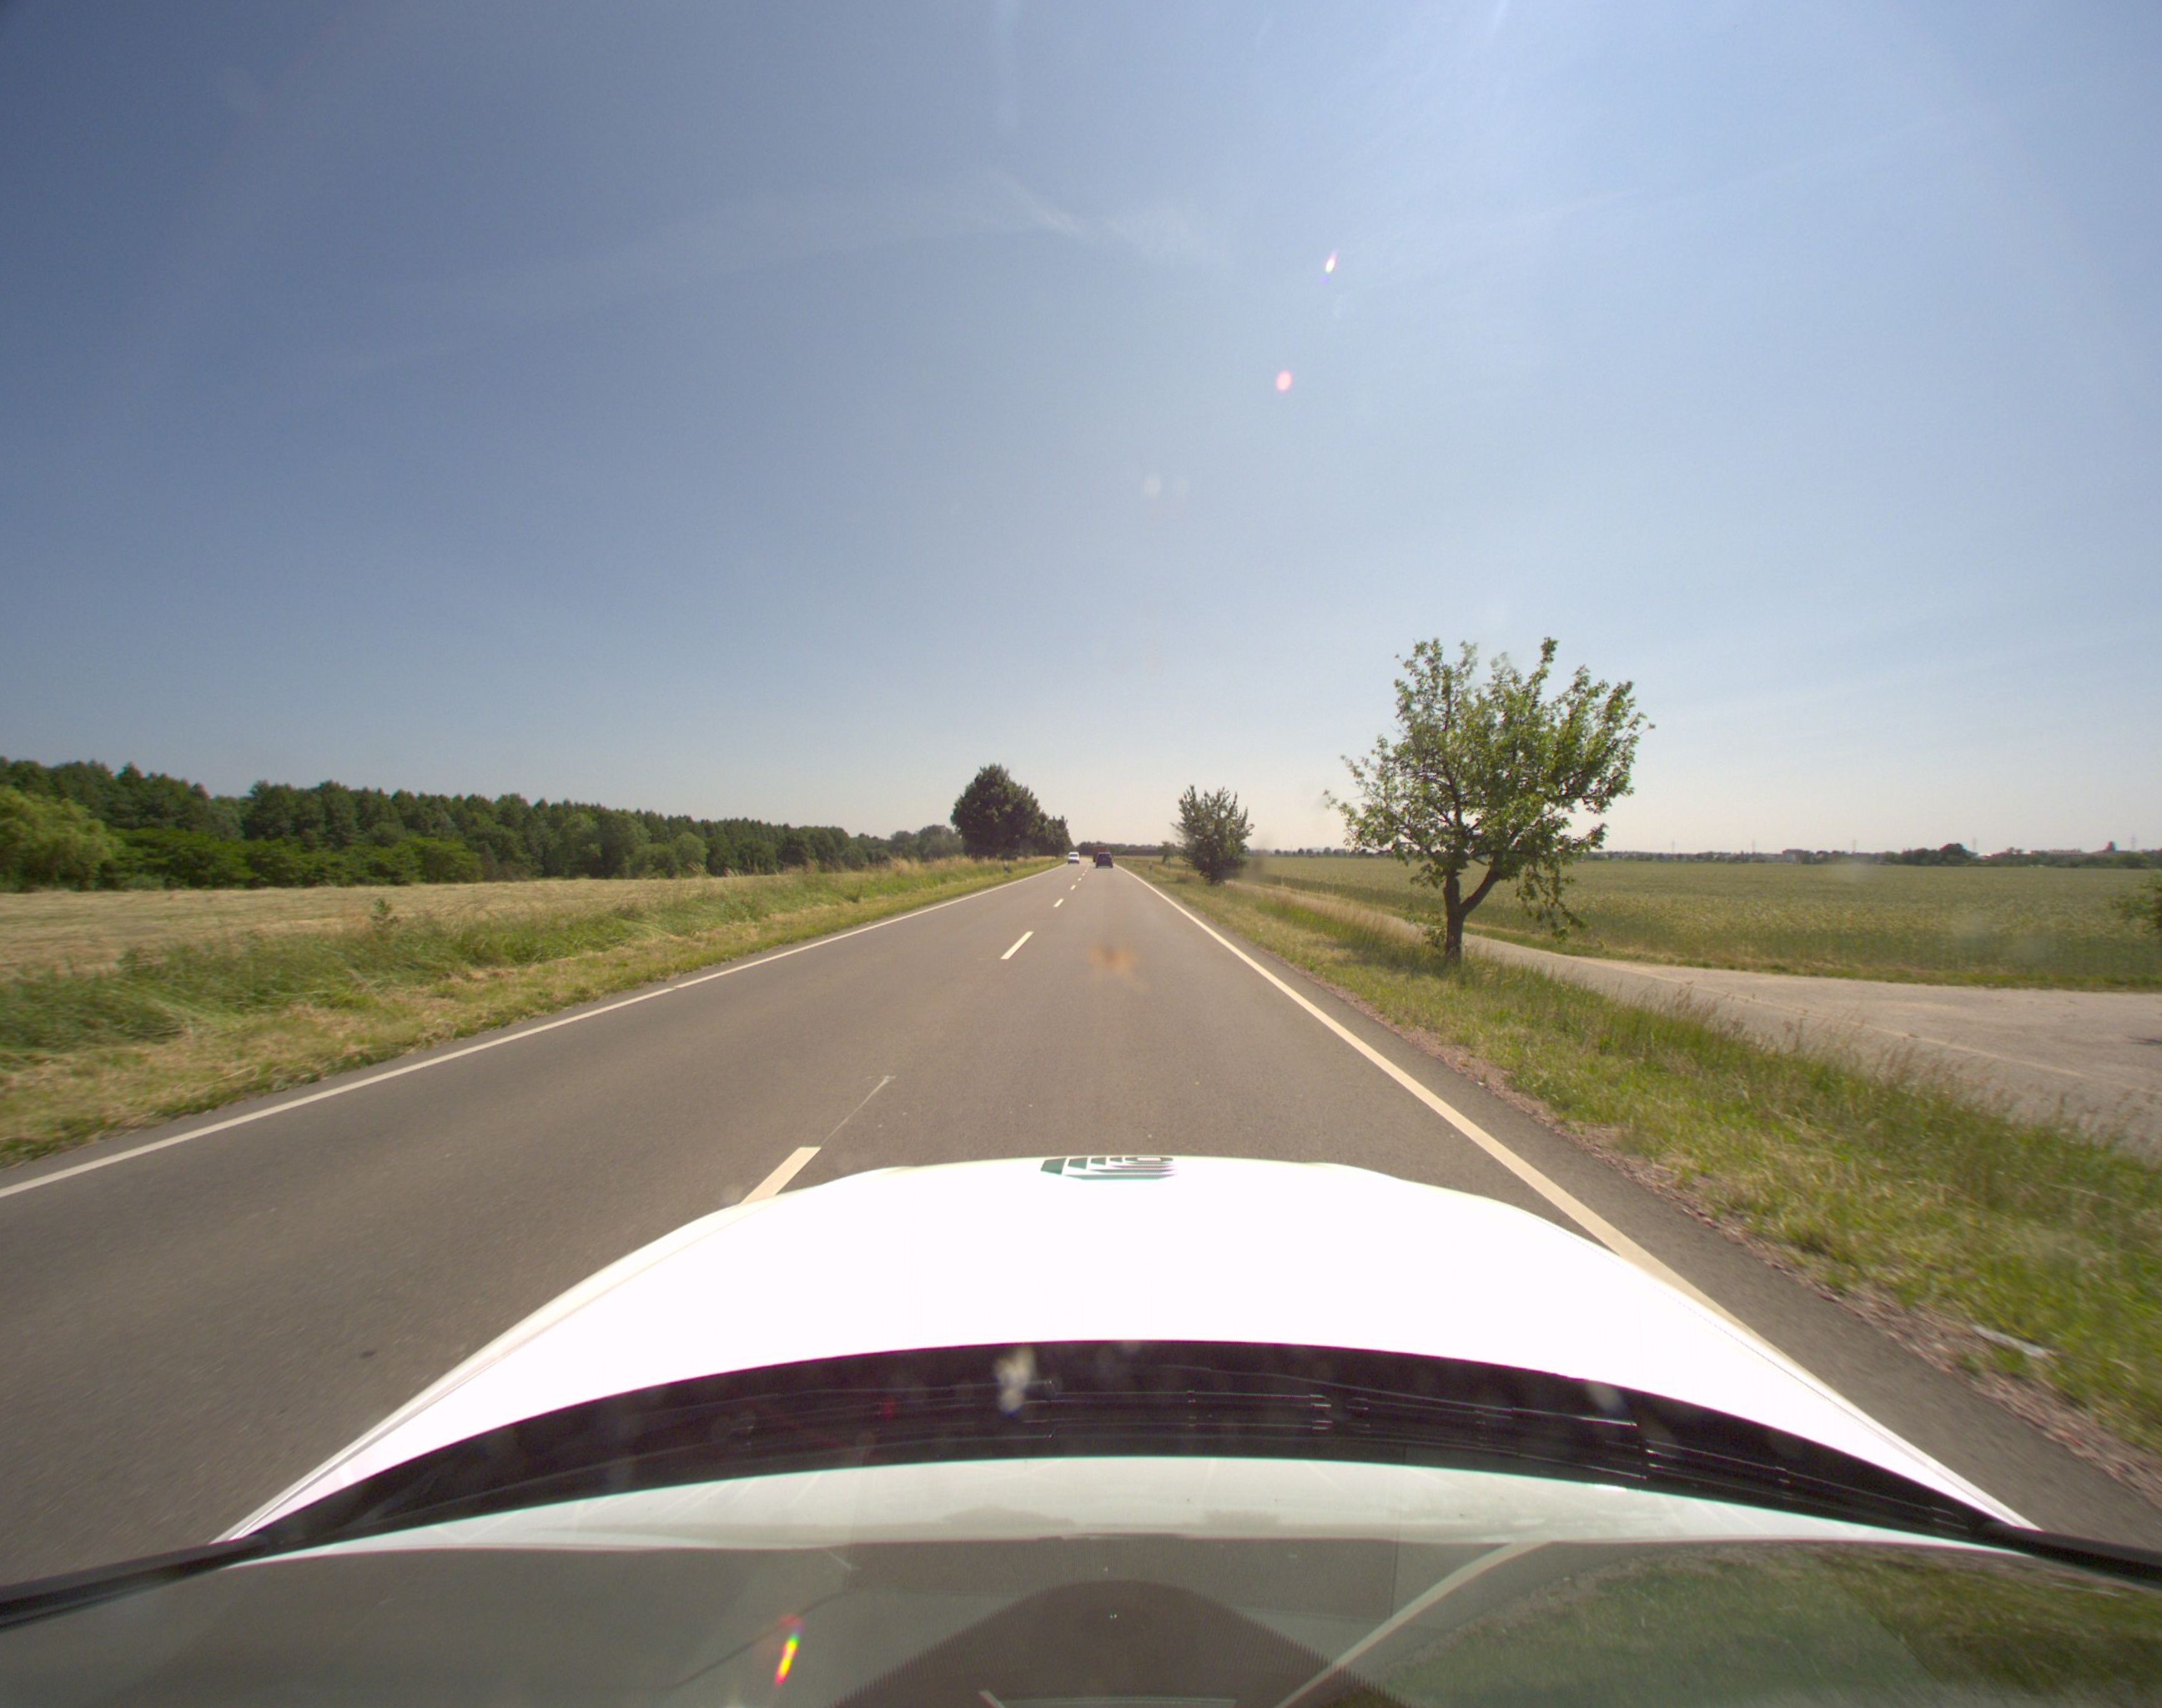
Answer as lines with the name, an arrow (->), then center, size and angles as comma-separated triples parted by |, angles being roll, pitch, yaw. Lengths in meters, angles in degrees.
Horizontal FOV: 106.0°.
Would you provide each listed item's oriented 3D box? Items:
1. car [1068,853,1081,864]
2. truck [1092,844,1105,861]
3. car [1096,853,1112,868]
car -> -1.033, 0.718, 125.985 | 1.780, 1.728, 4.306 | -1, 0, 2
truck -> 3.261, -0.229, 150.880 | 2.362, 3.140, 8.748 | -1, 0, 1
car -> 2.564, 0.717, 89.731 | 1.708, 1.694, 3.991 | -1, 0, 3
